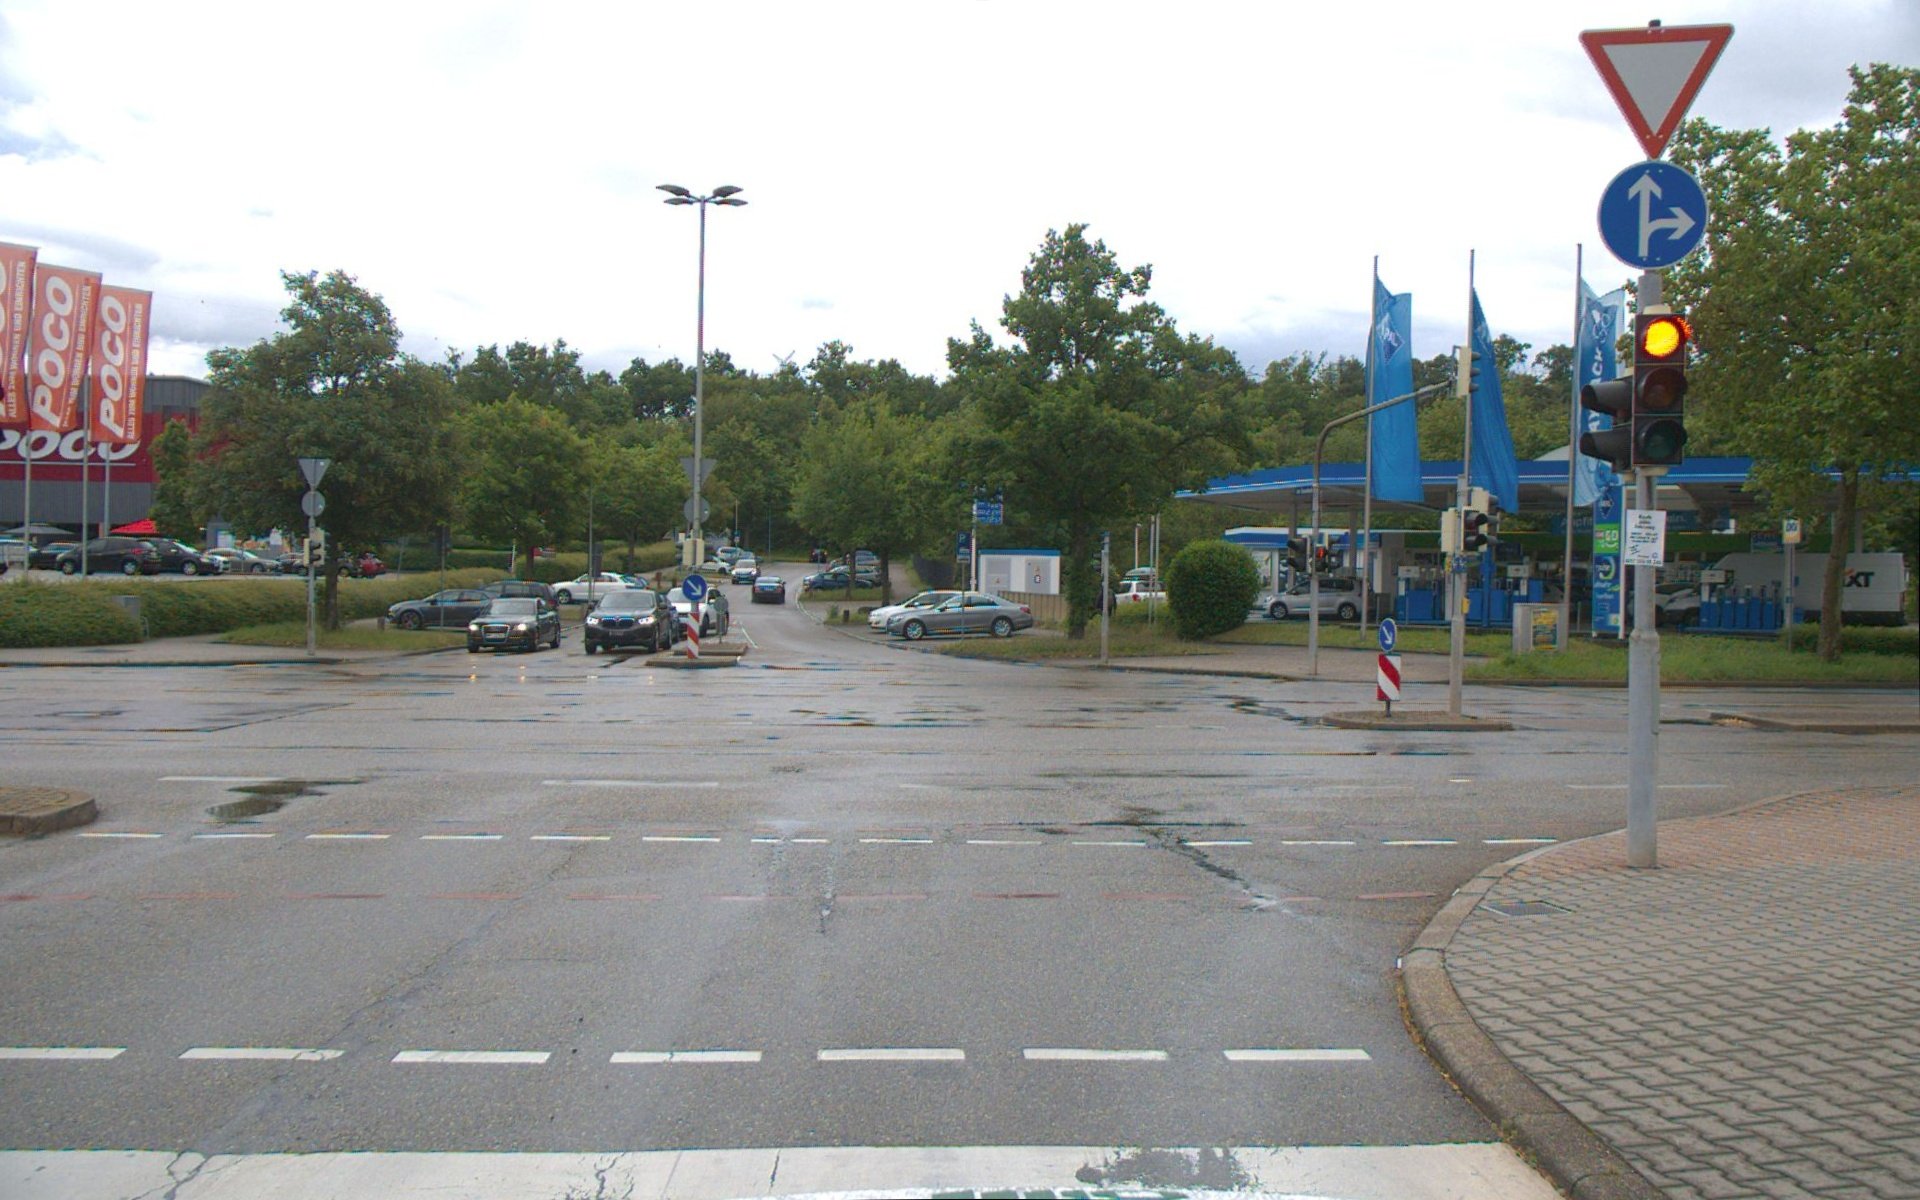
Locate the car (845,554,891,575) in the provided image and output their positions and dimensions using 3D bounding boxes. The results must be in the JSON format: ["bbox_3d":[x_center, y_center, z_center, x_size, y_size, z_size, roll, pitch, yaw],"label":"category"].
[{"bbox_3d":[-8.012,-3.115,144.224,3.910,1.769,1.808,0,0,-7],"label":"car"}]

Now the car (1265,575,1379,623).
[{"bbox_3d":[14.272,-0.044,65.277,4.037,1.839,1.943,0,0,29],"label":"car"}]

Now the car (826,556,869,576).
[{"bbox_3d":[-10.336,-3.116,151.617,3.910,1.769,1.808,0,0,-7],"label":"car"}]

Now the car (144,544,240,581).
[{"bbox_3d":[-36.187,-1.743,77.997,3.736,1.674,1.673,0,0,1],"label":"car"}]

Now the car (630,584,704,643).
[{"bbox_3d":[-8.768,0.406,49.815,1.761,1.661,4.547,0,0,-5],"label":"car"}]

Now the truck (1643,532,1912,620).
[{"bbox_3d":[26.366,-0.768,53.712,7.691,2.722,2.154,0,0,25],"label":"truck"}]

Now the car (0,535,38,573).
[{"bbox_3d":[-37.571,-1.752,63.119,3.816,1.405,1.673,0,0,1],"label":"car"}]

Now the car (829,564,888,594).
[{"bbox_3d":[-6.425,-1.320,104.209,3.627,1.780,1.695,1,0,-6],"label":"car"}]

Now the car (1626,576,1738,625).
[{"bbox_3d":[25.925,0.021,59.384,3.487,1.609,1.685,2,1,31],"label":"car"}]

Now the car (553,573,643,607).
[{"bbox_3d":[-18.140,-0.507,82.932,4.187,1.637,1.683,0,0,-4],"label":"car"}]

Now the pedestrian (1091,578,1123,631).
[{"bbox_3d":[4.736,0.138,53.277,0.795,1.690,0.884,0,-1,-13],"label":"pedestrian"}]

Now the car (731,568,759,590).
[{"bbox_3d":[-15.268,-1.458,117.488,1.664,1.481,3.670,0,0,-3],"label":"car"}]

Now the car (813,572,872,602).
[{"bbox_3d":[-6.943,-0.744,97.688,3.393,1.683,1.614,1,0,-6],"label":"car"}]

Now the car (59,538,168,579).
[{"bbox_3d":[-35.961,-1.772,70.286,3.736,1.674,1.673,0,0,1],"label":"car"}]

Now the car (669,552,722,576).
[{"bbox_3d":[-20.029,-2.721,125.554,3.911,1.825,1.853,0,0,-8],"label":"car"}]

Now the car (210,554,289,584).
[{"bbox_3d":[-40.691,-1.752,94.755,3.736,1.674,1.673,0,0,1],"label":"car"}]

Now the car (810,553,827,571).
[{"bbox_3d":[-15.559,-4.173,181.861,1.769,1.769,3.995,0,0,-5],"label":"car"}]

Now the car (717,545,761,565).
[{"bbox_3d":[-20.883,-4.229,156.243,3.907,1.825,1.855,0,0,-3],"label":"car"}]

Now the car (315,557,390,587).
[{"bbox_3d":[-35.742,-1.653,97.356,3.736,1.674,1.673,0,0,1],"label":"car"}]

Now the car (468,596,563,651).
[{"bbox_3d":[-12.053,0.626,45.066,1.747,1.429,3.997,0,0,-4],"label":"car"}]

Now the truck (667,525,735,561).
[{"bbox_3d":[-29.698,-6.518,189.533,7.210,3.928,2.780,0,0,6],"label":"truck"}]

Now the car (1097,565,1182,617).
[{"bbox_3d":[6.519,-0.308,60.463,1.780,1.828,3.682,1,0,-17],"label":"car"}]

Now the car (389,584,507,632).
[{"bbox_3d":[-17.339,0.258,56.136,3.580,1.580,1.682,0,0,-8],"label":"car"}]

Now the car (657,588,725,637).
[{"bbox_3d":[-8.998,0.400,55.542,1.858,1.580,3.997,0,0,-4],"label":"car"}]

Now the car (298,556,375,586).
[{"bbox_3d":[-35.649,-1.663,94.571,3.736,1.674,1.673,0,0,1],"label":"car"}]

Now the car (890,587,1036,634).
[{"bbox_3d":[0.077,0.358,56.468,4.794,1.576,1.997,0,0,-8],"label":"car"}]

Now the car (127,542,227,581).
[{"bbox_3d":[-35.634,-1.745,75.289,3.736,1.674,1.673,0,0,1],"label":"car"}]

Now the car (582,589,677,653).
[{"bbox_3d":[-8.701,0.538,43.874,1.858,1.580,4.588,0,0,-4],"label":"car"}]

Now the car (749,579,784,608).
[{"bbox_3d":[-10.588,-0.353,90.576,1.772,1.508,3.747,0,0,-5],"label":"car"}]

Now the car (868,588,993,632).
[{"bbox_3d":[-1.126,0.373,61.717,4.486,1.617,1.926,0,0,-8],"label":"car"}]

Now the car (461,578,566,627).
[{"bbox_3d":[-16.650,0.098,61.776,3.580,1.755,1.682,0,0,-8],"label":"car"}]

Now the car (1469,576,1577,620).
[{"bbox_3d":[22.675,-0.072,66.635,3.909,1.758,1.793,0,0,27],"label":"car"}]
